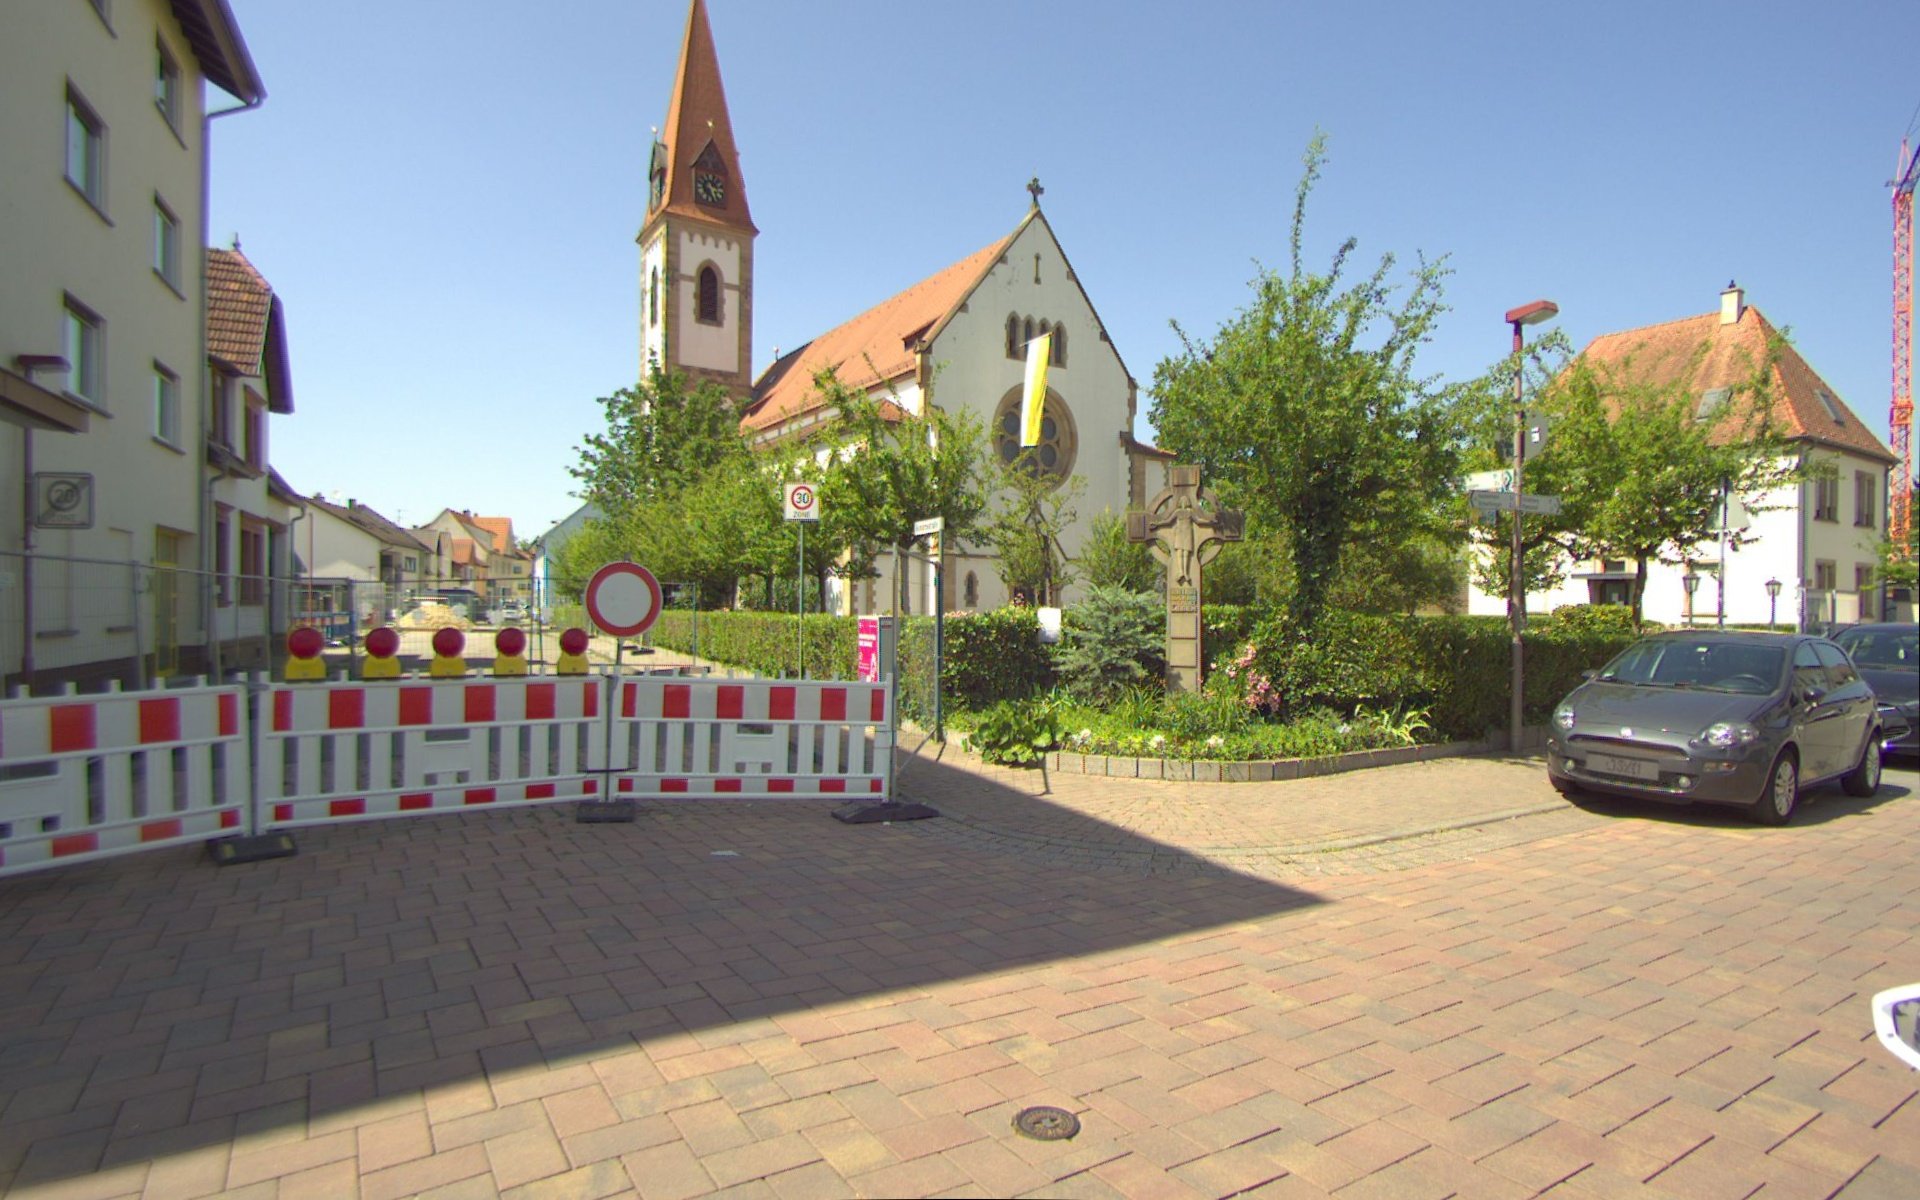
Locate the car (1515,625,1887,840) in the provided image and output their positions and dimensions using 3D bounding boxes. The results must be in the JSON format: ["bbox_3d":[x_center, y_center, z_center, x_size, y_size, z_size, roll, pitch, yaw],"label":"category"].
[{"bbox_3d":[6.784,1.003,9.079,3.821,1.516,1.690,1,-1,-37],"label":"car"}]

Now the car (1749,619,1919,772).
[{"bbox_3d":[11.622,1.066,12.351,3.980,1.626,1.805,1,-1,-32],"label":"car"}]

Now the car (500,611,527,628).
[{"bbox_3d":[-39.835,1.750,89.520,1.793,1.483,3.913,1,-1,-30],"label":"car"}]
